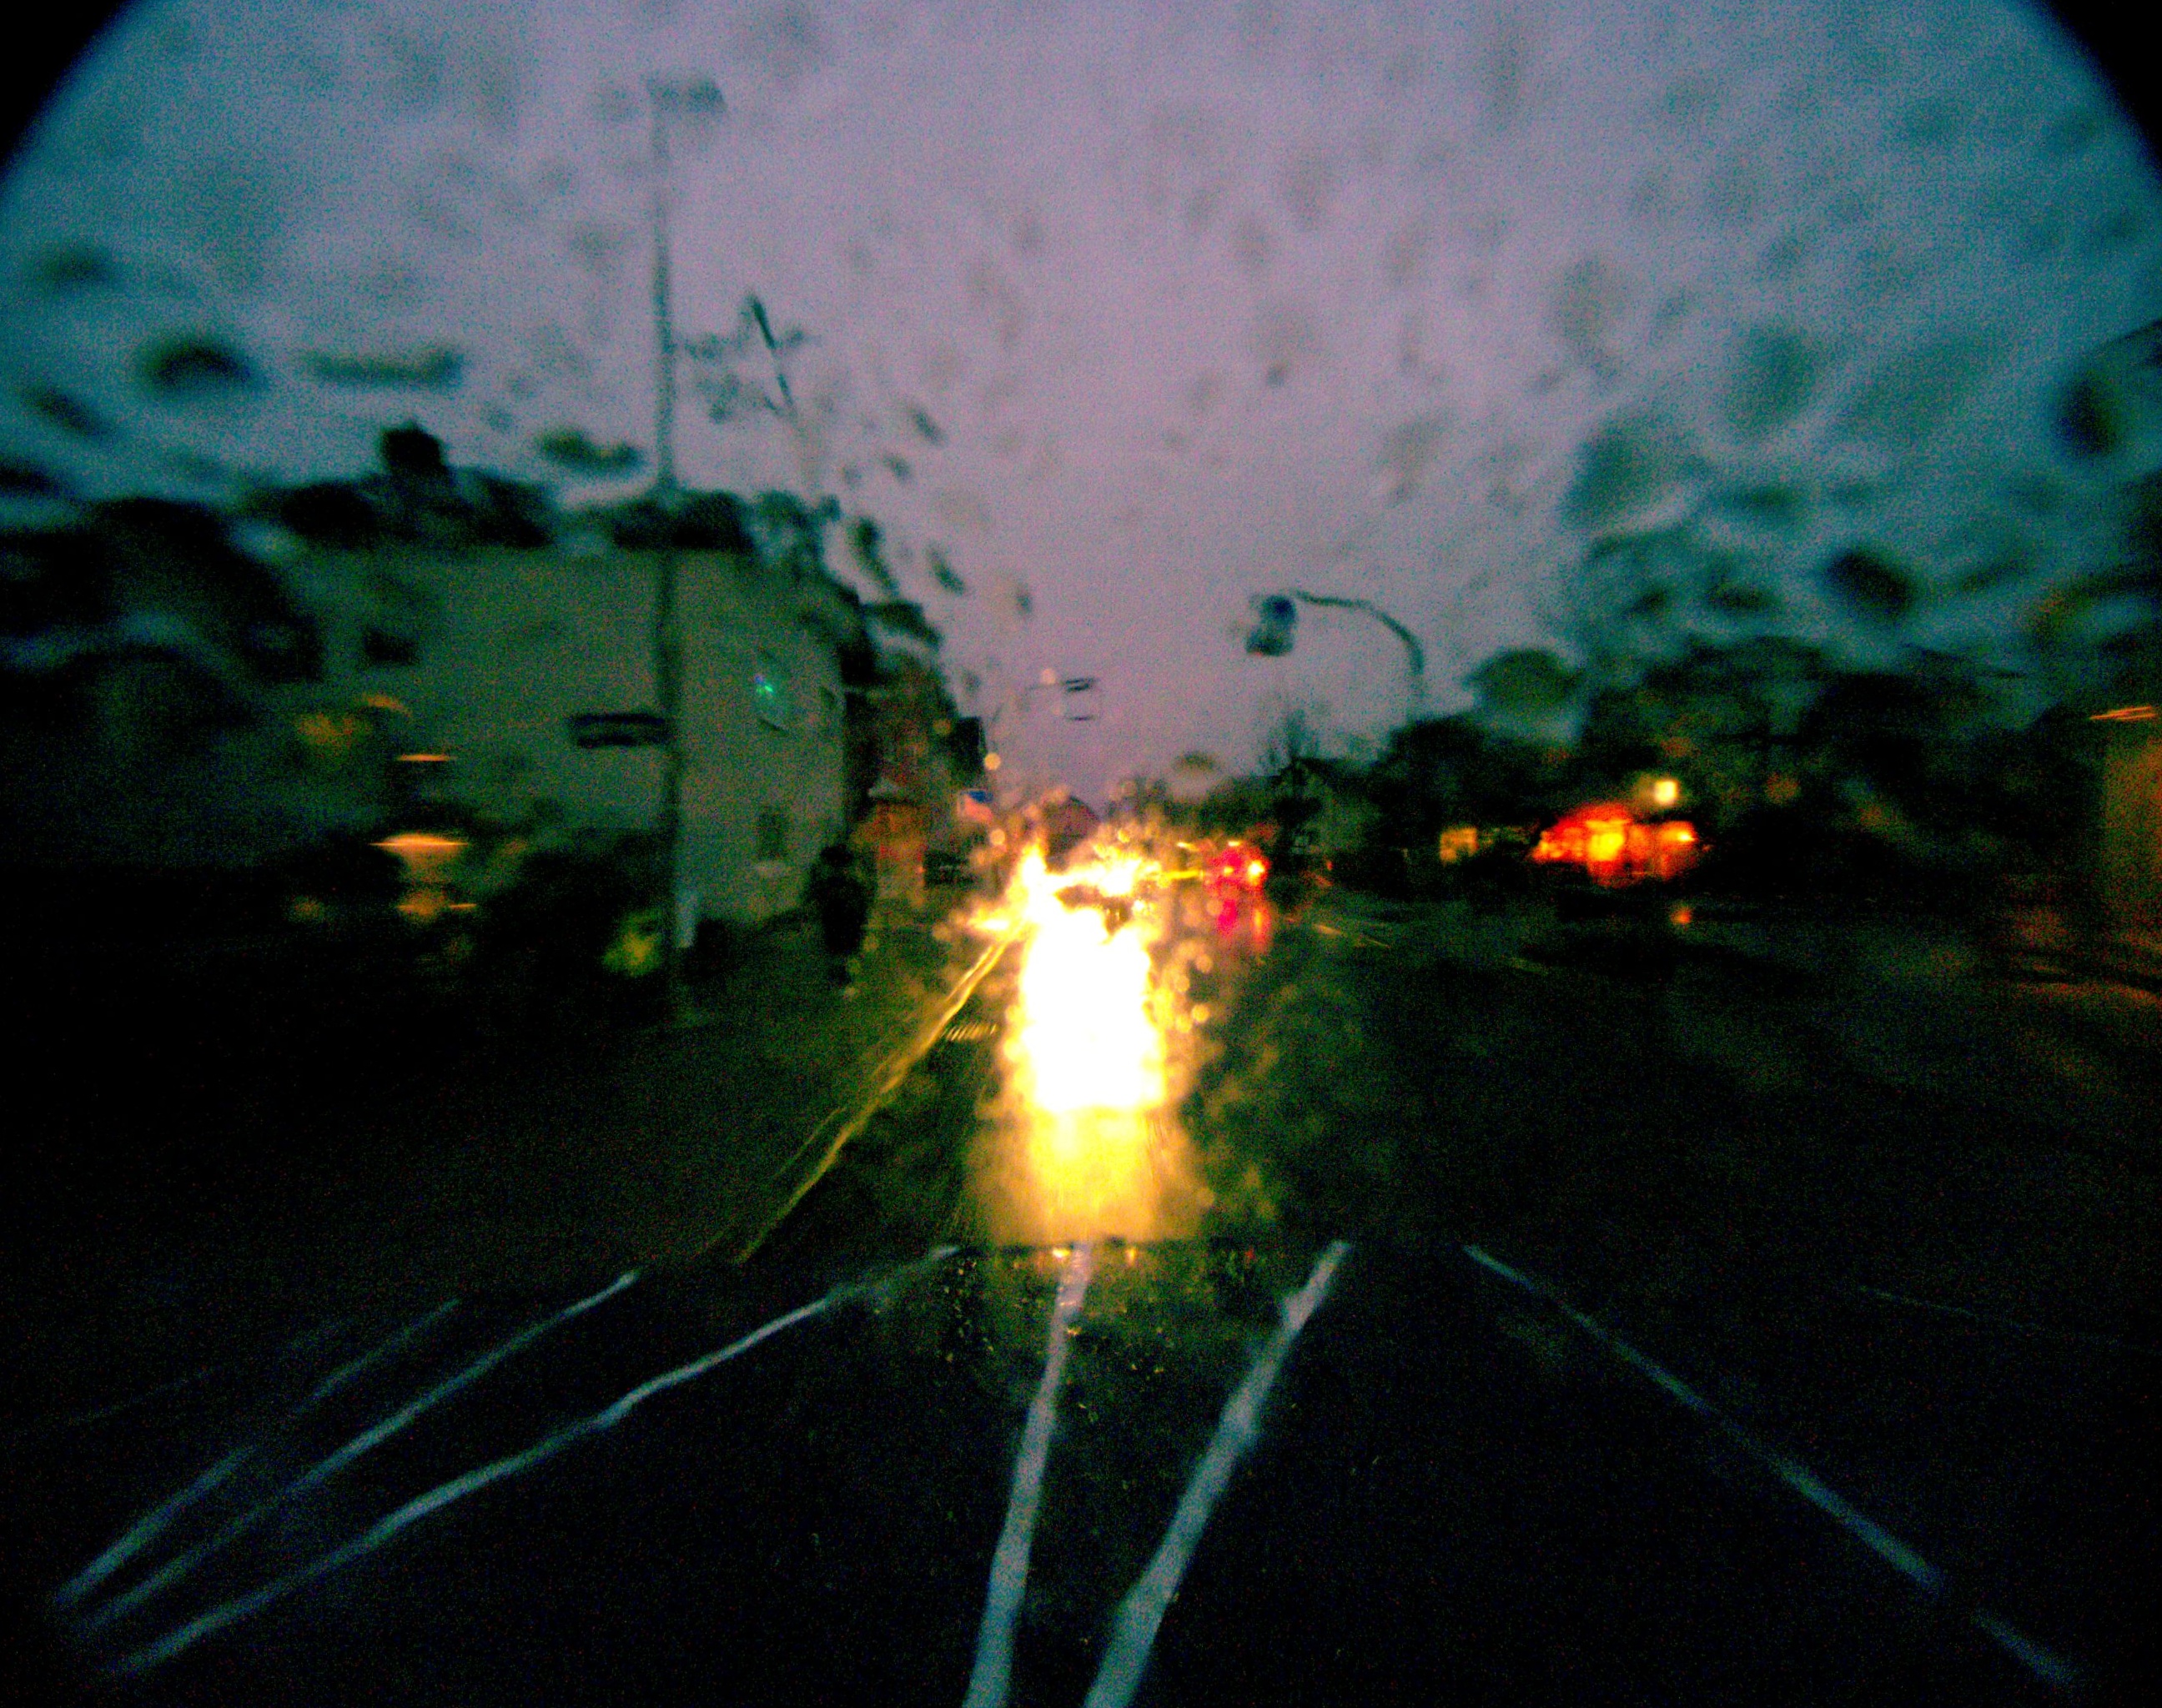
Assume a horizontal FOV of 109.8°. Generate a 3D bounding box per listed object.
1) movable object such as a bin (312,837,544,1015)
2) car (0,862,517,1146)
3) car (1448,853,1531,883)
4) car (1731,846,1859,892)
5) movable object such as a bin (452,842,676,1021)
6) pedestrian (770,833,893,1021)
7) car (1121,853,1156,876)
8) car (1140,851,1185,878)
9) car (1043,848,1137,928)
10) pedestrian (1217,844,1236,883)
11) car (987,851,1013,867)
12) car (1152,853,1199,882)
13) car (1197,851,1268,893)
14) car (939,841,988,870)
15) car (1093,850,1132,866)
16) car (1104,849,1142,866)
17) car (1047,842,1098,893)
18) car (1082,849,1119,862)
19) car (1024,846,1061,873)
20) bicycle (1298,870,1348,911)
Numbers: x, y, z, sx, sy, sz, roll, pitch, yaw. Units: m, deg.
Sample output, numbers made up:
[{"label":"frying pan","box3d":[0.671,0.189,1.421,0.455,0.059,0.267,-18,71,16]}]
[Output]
[{"label":"movable object such as a bin","box3d":[-6.474,0.675,7.641,1.289,1.634,1.185,1,0,-4]},{"label":"car","box3d":[-6.508,0.829,5.105,3.996,1.478,1.912,0,1,2]},{"label":"car","box3d":[22.610,0.752,42.220,2.000,1.555,3.996,0,0,-11]},{"label":"car","box3d":[29.929,0.599,31.901,4.002,1.833,1.997,0,1,-13]},{"label":"movable object such as a bin","box3d":[-5.106,0.724,7.645,1.397,1.634,1.261,1,0,-4]},{"label":"pedestrian","box3d":[-2.666,0.734,8.243,0.969,1.878,1.005,-2,1,-4]},{"label":"car","box3d":[4.041,0.712,54.154,1.841,1.526,4.137,-2,1,-4]},{"label":"car","box3d":[4.952,0.611,46.632,1.881,1.526,3.669,-2,1,-8]},{"label":"car","box3d":[0.113,0.752,19.219,1.999,1.720,3.998,-2,1,-4]},{"label":"pedestrian","box3d":[7.542,0.474,39.450,0.902,2.002,0.791,-1,1,6]},{"label":"car","box3d":[-8.403,0.467,78.317,2.001,1.506,3.994,-2,1,-15]},{"label":"car","box3d":[5.061,0.710,41.243,1.699,1.423,4.375,-2,0,-3]},{"label":"car","box3d":[6.095,0.685,31.063,1.789,1.480,4.180,-2,1,-3]},{"label":"car","box3d":[-6.485,0.065,42.309,1.934,1.476,4.696,-2,0,0]},{"label":"car","box3d":[3.421,0.409,81.733,3.995,1.538,2.001,-2,1,7]},{"label":"car","box3d":[4.346,0.357,79.091,3.840,1.537,2.000,-2,1,4]},{"label":"car","box3d":[-0.386,0.521,33.080,1.999,2.002,3.999,-2,1,-1]},{"label":"car","box3d":[2.180,0.191,84.615,3.996,1.291,2.000,-2,1,2]},{"label":"car","box3d":[-2.849,0.382,55.412,2.001,1.844,3.995,-2,1,-13]},{"label":"bicycle","box3d":[6.577,0.974,20.720,0.325,1.055,1.742,4,-2,-18]}]
